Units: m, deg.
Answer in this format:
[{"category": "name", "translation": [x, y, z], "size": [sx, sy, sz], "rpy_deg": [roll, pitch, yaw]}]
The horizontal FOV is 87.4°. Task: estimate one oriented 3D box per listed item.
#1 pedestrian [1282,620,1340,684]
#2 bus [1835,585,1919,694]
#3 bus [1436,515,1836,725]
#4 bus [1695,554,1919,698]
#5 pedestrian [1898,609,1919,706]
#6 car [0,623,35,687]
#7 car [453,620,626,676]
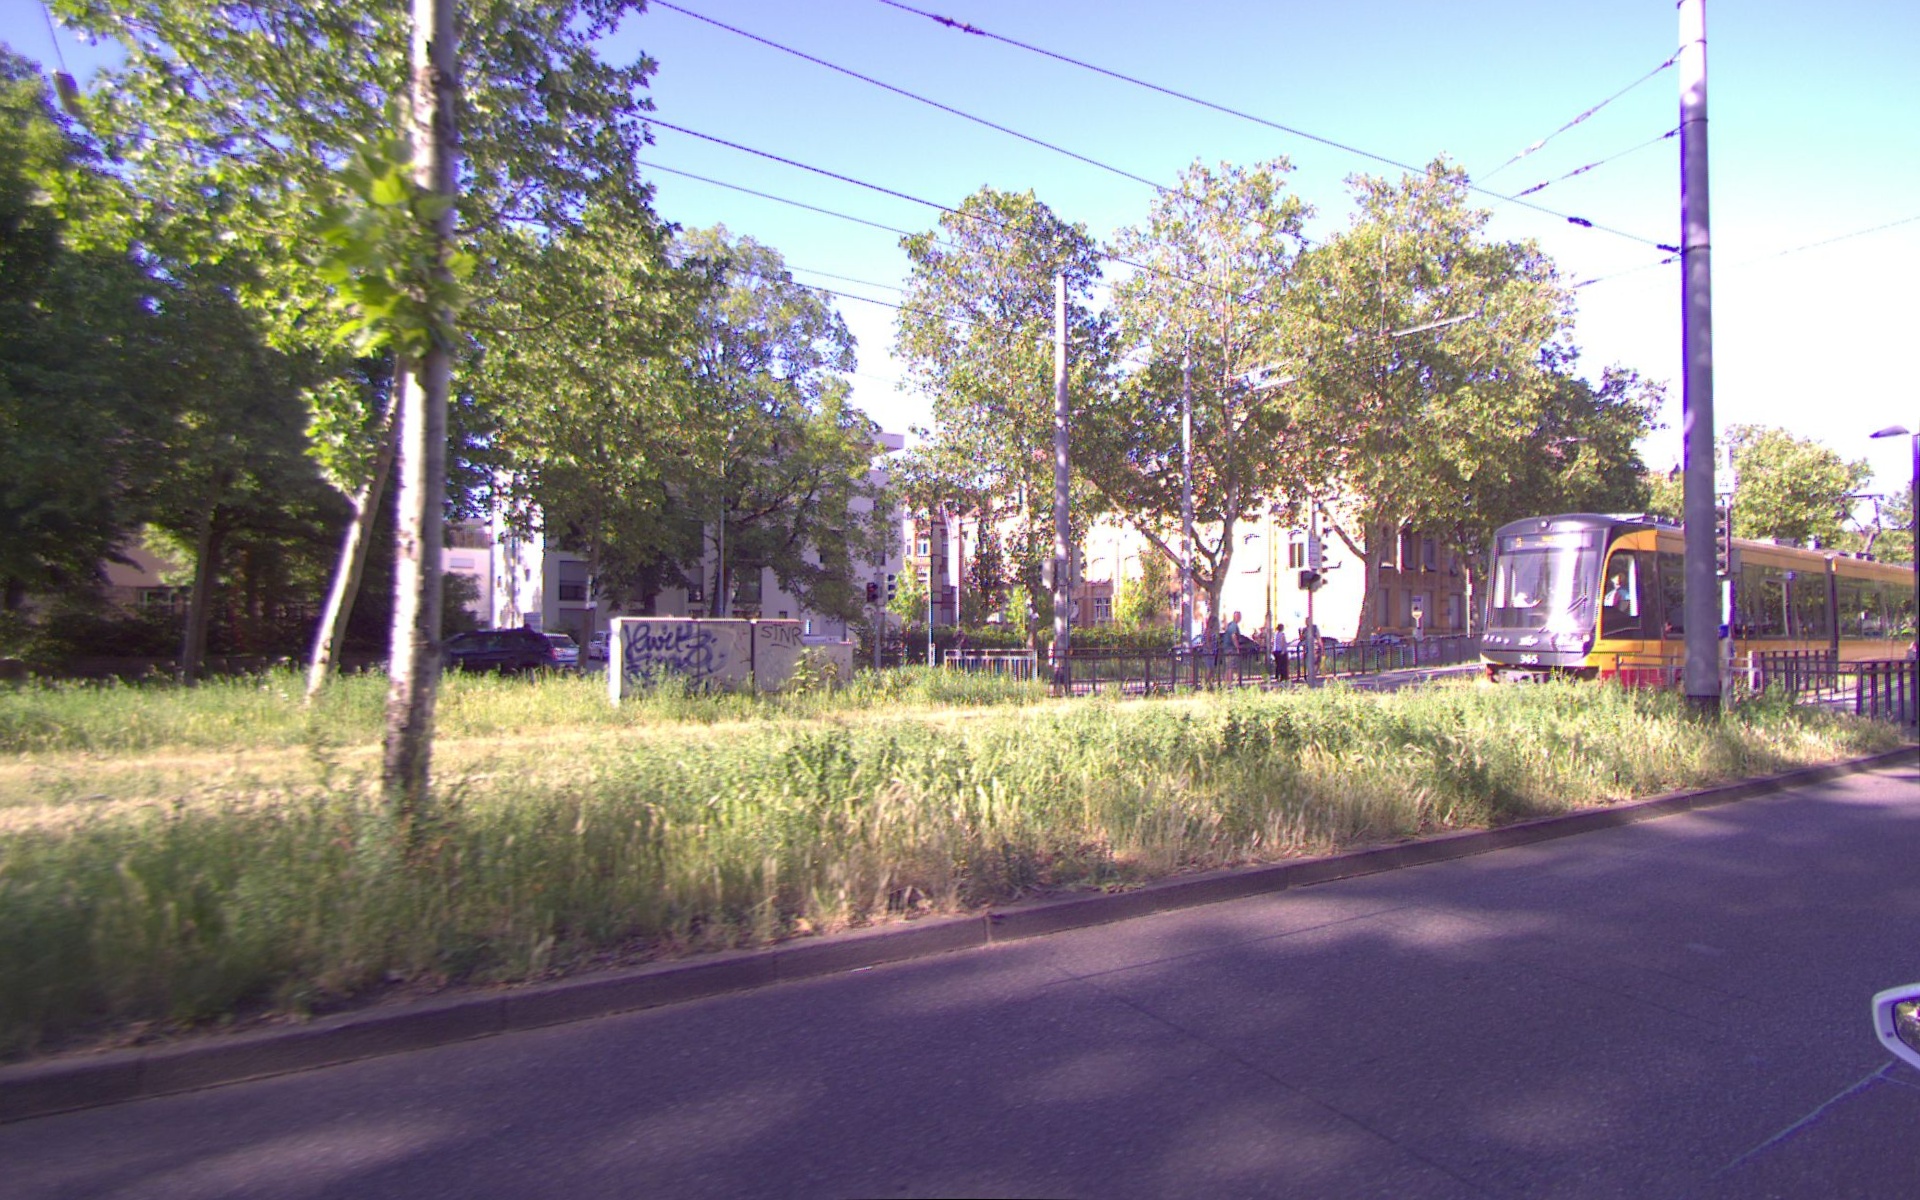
[{"category": "pedestrian", "translation": [9.336, 1.371, 26.717], "size": [0.886, 1.665, 1.166], "rpy_deg": [3, -2, -42]}, {"category": "bus", "translation": [34.909, 1.419, 35.985], "size": [11.498, 3.489, 2.850], "rpy_deg": [2, -1, -36]}, {"category": "bus", "translation": [15.171, 0.522, 21.738], "size": [13.088, 3.489, 2.850], "rpy_deg": [2, -1, -36]}, {"category": "bus", "translation": [25.253, 0.791, 29.064], "size": [12.096, 3.489, 2.850], "rpy_deg": [2, -1, -36]}, {"category": "pedestrian", "translation": [19.795, 1.163, 20.305], "size": [1.116, 1.941, 1.064], "rpy_deg": [2, -1, -37]}, {"category": "car", "translation": [-20.474, 1.065, 19.660], "size": [3.329, 1.244, 1.396], "rpy_deg": [2, -1, -38]}, {"category": "car", "translation": [-11.222, 1.243, 26.871], "size": [3.959, 1.327, 1.981], "rpy_deg": [1, 0, -34]}]
